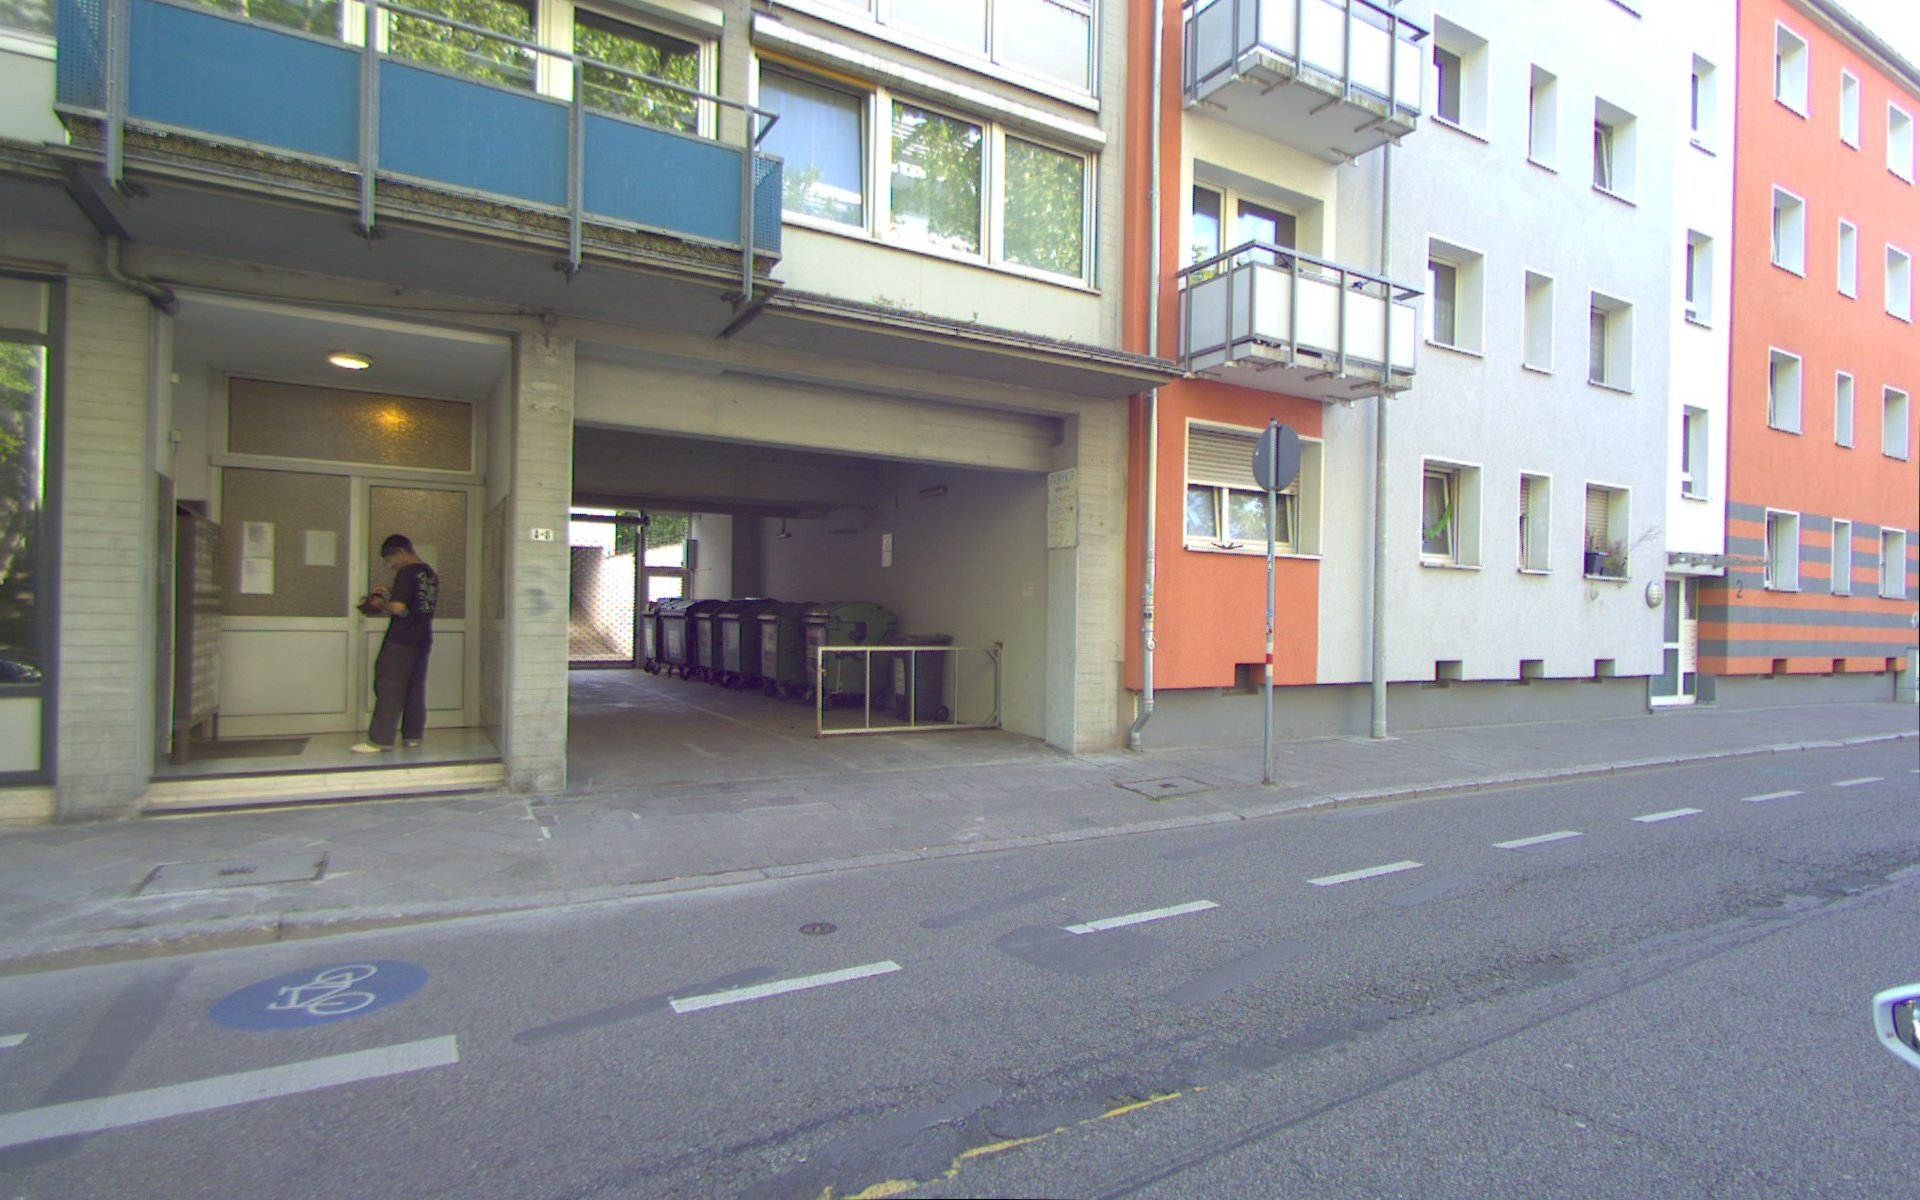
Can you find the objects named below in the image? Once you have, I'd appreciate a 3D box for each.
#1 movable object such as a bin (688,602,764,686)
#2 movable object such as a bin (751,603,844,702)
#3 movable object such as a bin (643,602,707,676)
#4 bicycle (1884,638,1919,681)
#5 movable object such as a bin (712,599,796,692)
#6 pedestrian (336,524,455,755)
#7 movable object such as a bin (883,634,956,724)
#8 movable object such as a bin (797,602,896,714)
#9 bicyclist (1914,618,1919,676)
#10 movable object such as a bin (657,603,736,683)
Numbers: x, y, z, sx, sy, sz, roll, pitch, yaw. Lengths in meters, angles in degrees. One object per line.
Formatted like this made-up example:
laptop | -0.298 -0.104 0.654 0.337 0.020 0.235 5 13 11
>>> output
movable object such as a bin | -4.119 0.756 17.679 1.012 1.409 1.046 1 0 -31
movable object such as a bin | -2.459 0.761 15.129 1.011 1.409 1.319 1 0 -27
movable object such as a bin | -5.708 0.761 20.100 1.010 1.409 1.246 1 0 -27
bicycle | 27.616 1.711 28.490 0.878 1.200 1.981 1 0 -39
movable object such as a bin | -3.426 0.731 16.640 1.011 1.462 1.317 1 0 -29
pedestrian | -4.540 0.305 8.088 0.518 1.764 0.630 1 0 27
movable object such as a bin | -0.501 0.960 12.462 0.704 1.054 0.583 1 0 -30
movable object such as a bin | -1.582 0.764 13.818 1.009 1.438 1.320 1 0 -23
bicyclist | 27.652 1.339 28.467 0.878 1.613 0.793 1 0 -39
movable object such as a bin | -4.896 0.769 18.644 1.014 1.409 1.264 1 0 -37
